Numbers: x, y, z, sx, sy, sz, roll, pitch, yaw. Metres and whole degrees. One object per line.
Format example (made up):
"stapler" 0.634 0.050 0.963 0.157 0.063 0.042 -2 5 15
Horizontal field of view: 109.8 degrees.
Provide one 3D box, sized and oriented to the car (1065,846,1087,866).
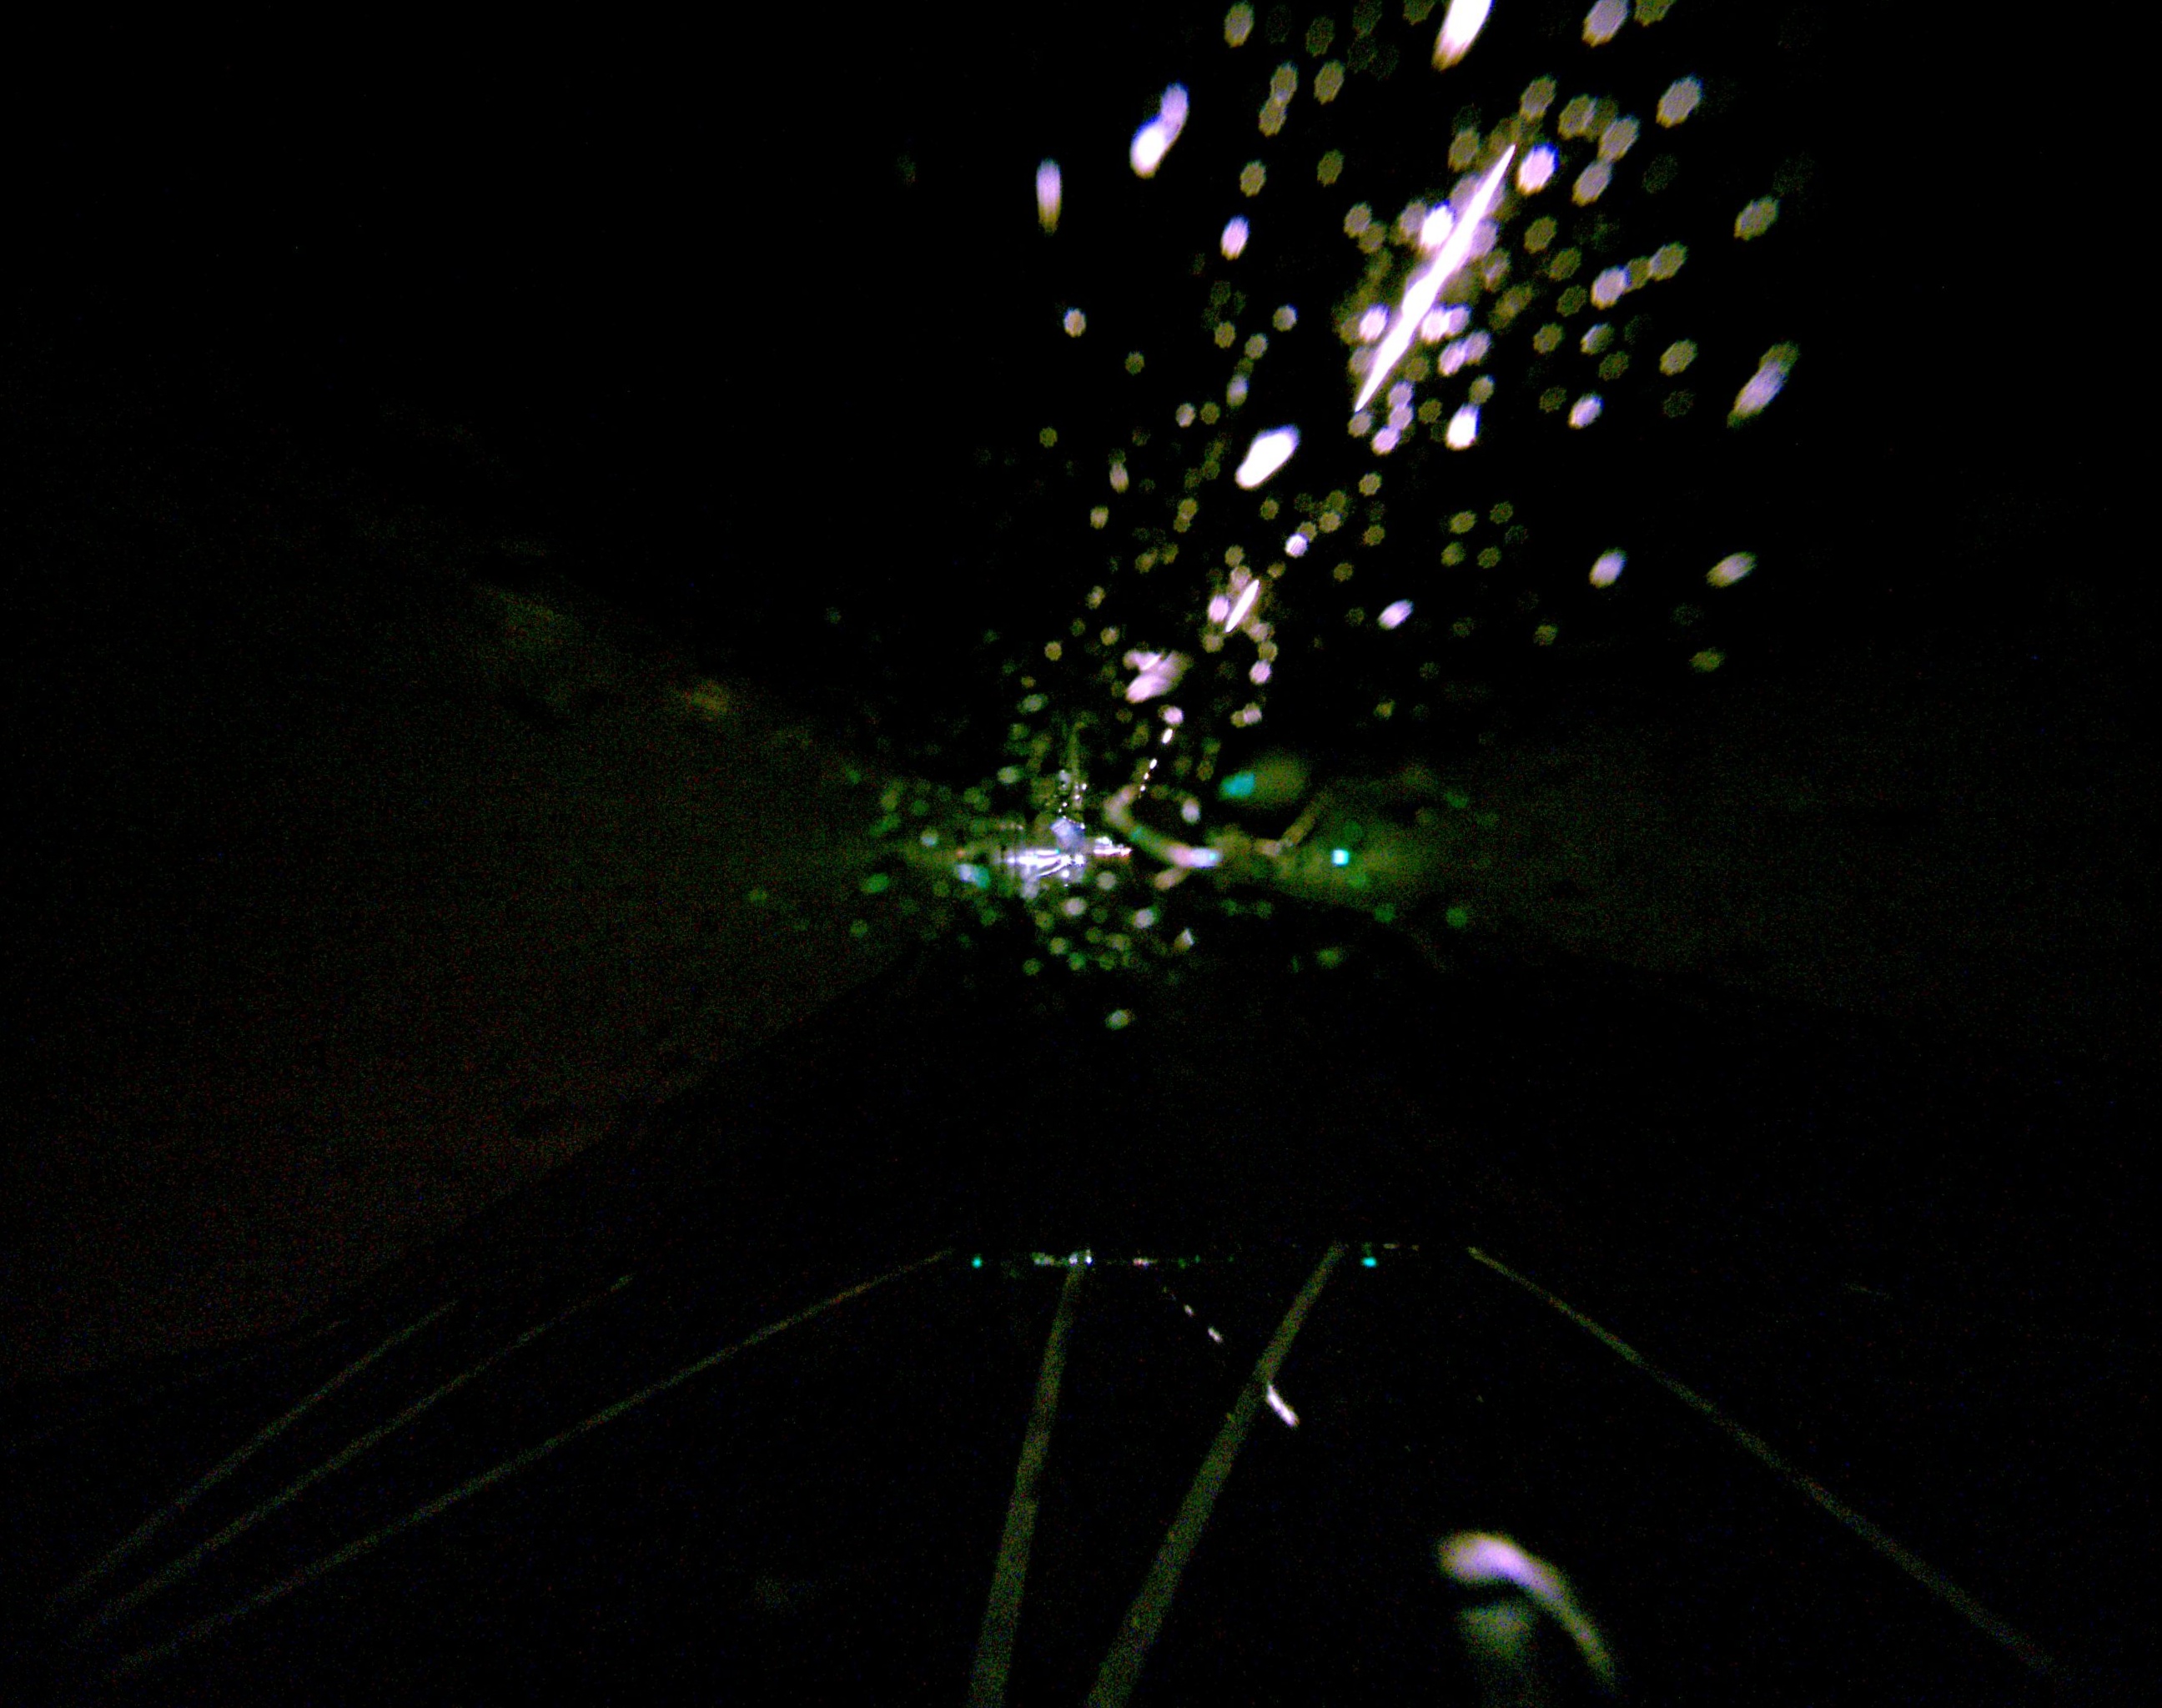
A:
"car" -0.523 0.177 83.513 2.030 2.017 4.425 -4 1 3
